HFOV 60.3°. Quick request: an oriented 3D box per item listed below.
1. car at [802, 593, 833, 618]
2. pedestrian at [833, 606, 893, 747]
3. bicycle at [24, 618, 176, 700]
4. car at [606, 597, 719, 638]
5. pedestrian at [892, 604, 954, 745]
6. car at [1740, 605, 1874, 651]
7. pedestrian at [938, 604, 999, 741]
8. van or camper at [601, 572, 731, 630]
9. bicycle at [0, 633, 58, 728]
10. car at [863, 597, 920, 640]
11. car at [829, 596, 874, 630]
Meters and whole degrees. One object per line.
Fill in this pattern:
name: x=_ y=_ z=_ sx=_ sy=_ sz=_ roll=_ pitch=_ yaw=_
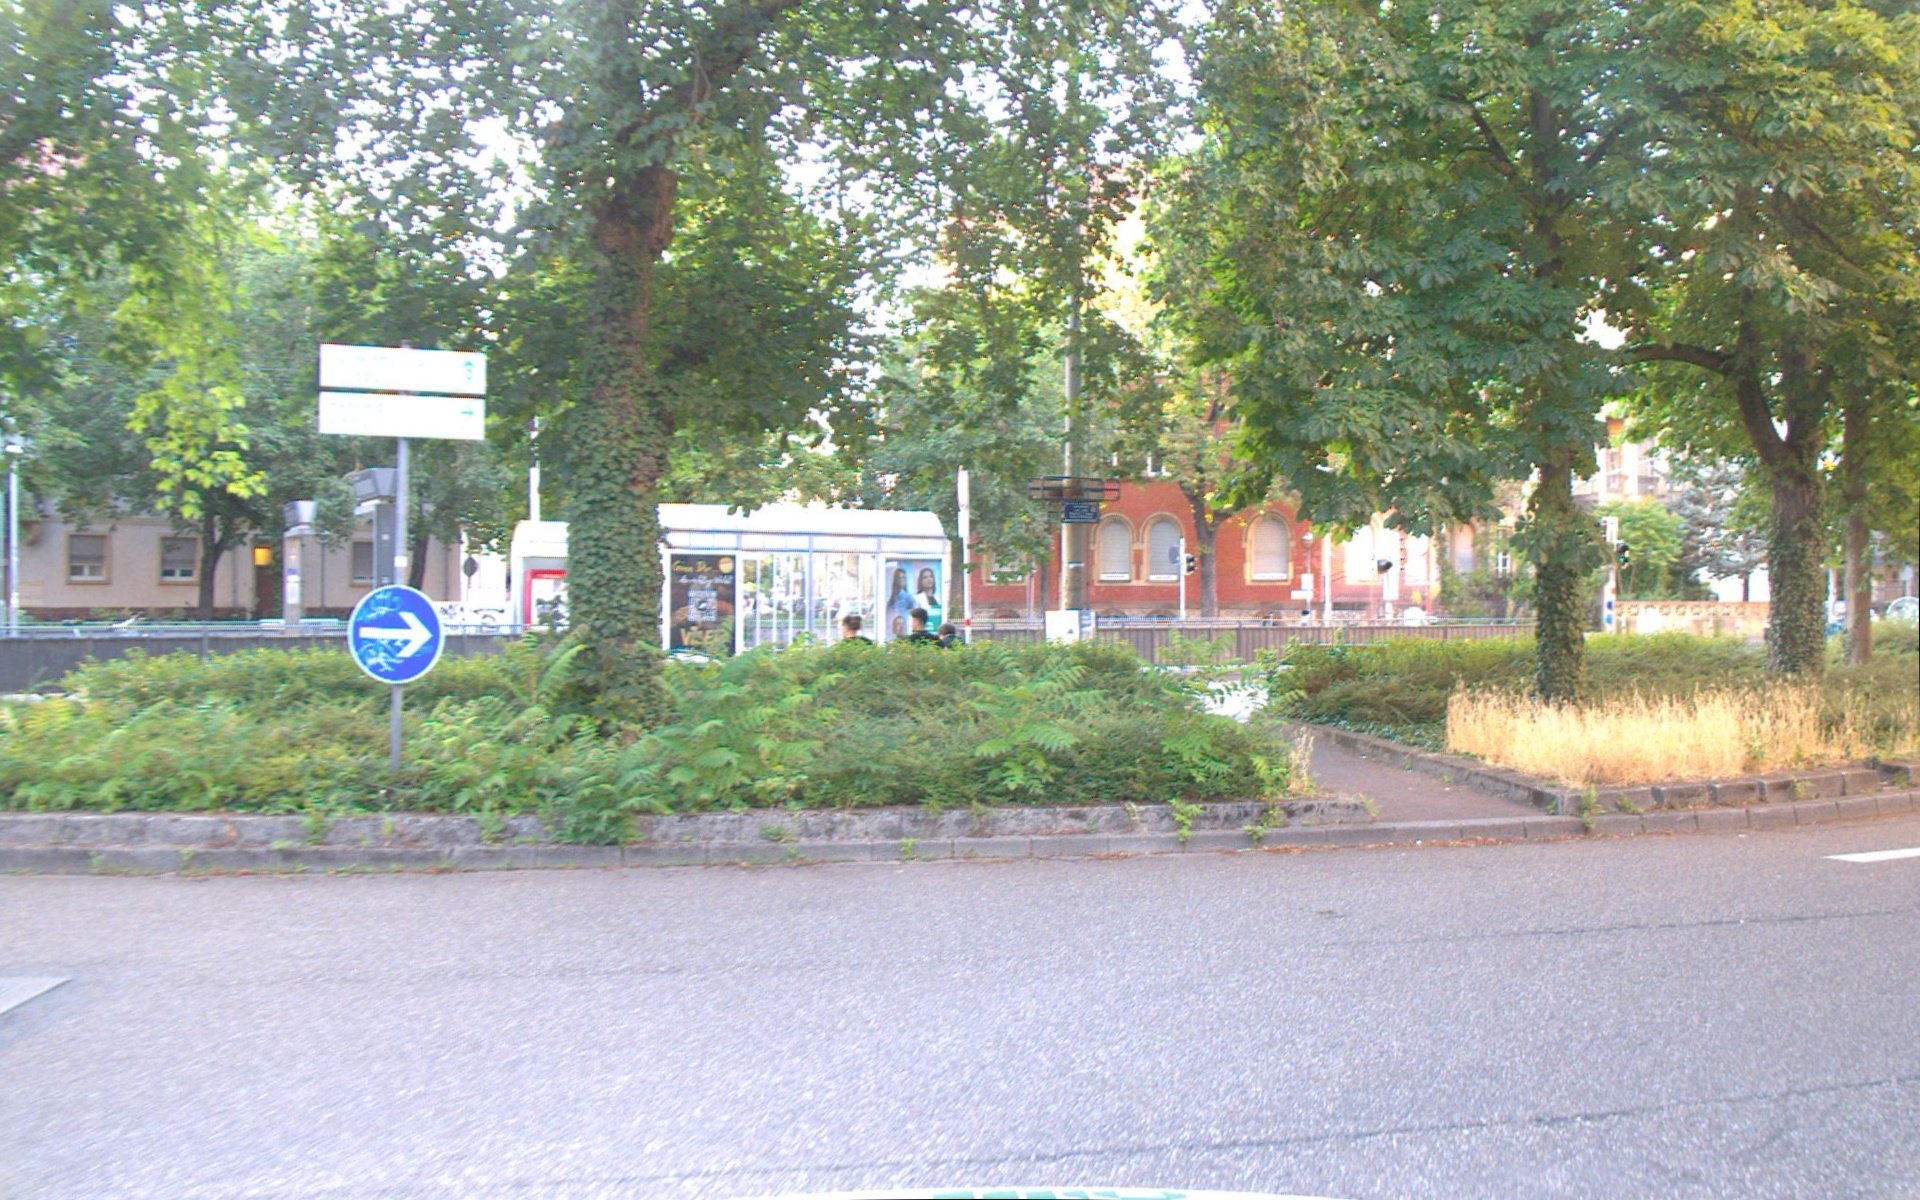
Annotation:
car: x=-10.572 y=0.419 z=122.259 sx=1.956 sy=1.733 sz=4.711 roll=1 pitch=0 yaw=-8
pedestrian: x=-1.031 y=0.793 z=17.463 sx=0.604 sy=1.456 sz=0.654 roll=0 pitch=0 yaw=-6
bicycle: x=-11.823 y=0.789 z=22.770 sx=1.829 sy=1.070 sz=0.541 roll=0 pitch=0 yaw=-30
car: x=-13.222 y=0.773 z=73.597 sx=4.863 sy=1.733 sz=1.994 roll=1 pitch=0 yaw=-12
pedestrian: x=-0.394 y=0.778 z=17.531 sx=0.604 sy=1.456 sz=0.654 roll=0 pitch=0 yaw=-6
car: x=29.353 y=0.944 z=57.326 sx=4.350 sy=1.536 sz=1.934 roll=0 pitch=0 yaw=-26
pedestrian: x=0.086 y=0.772 z=18.012 sx=0.604 sy=1.456 sz=0.654 roll=0 pitch=0 yaw=-6
van or camper: x=-17.056 y=0.053 z=95.959 sx=7.235 sy=3.137 sz=2.665 roll=1 pitch=0 yaw=-12
bicycle: x=-12.598 y=1.020 z=20.900 sx=2.086 sy=1.171 sz=0.679 roll=0 pitch=0 yaw=-31
car: x=-2.983 y=0.787 z=70.986 sx=1.956 sy=1.733 sz=4.711 roll=1 pitch=0 yaw=-8
car: x=-5.745 y=0.662 z=87.063 sx=1.956 sy=1.733 sz=4.711 roll=1 pitch=0 yaw=-8
